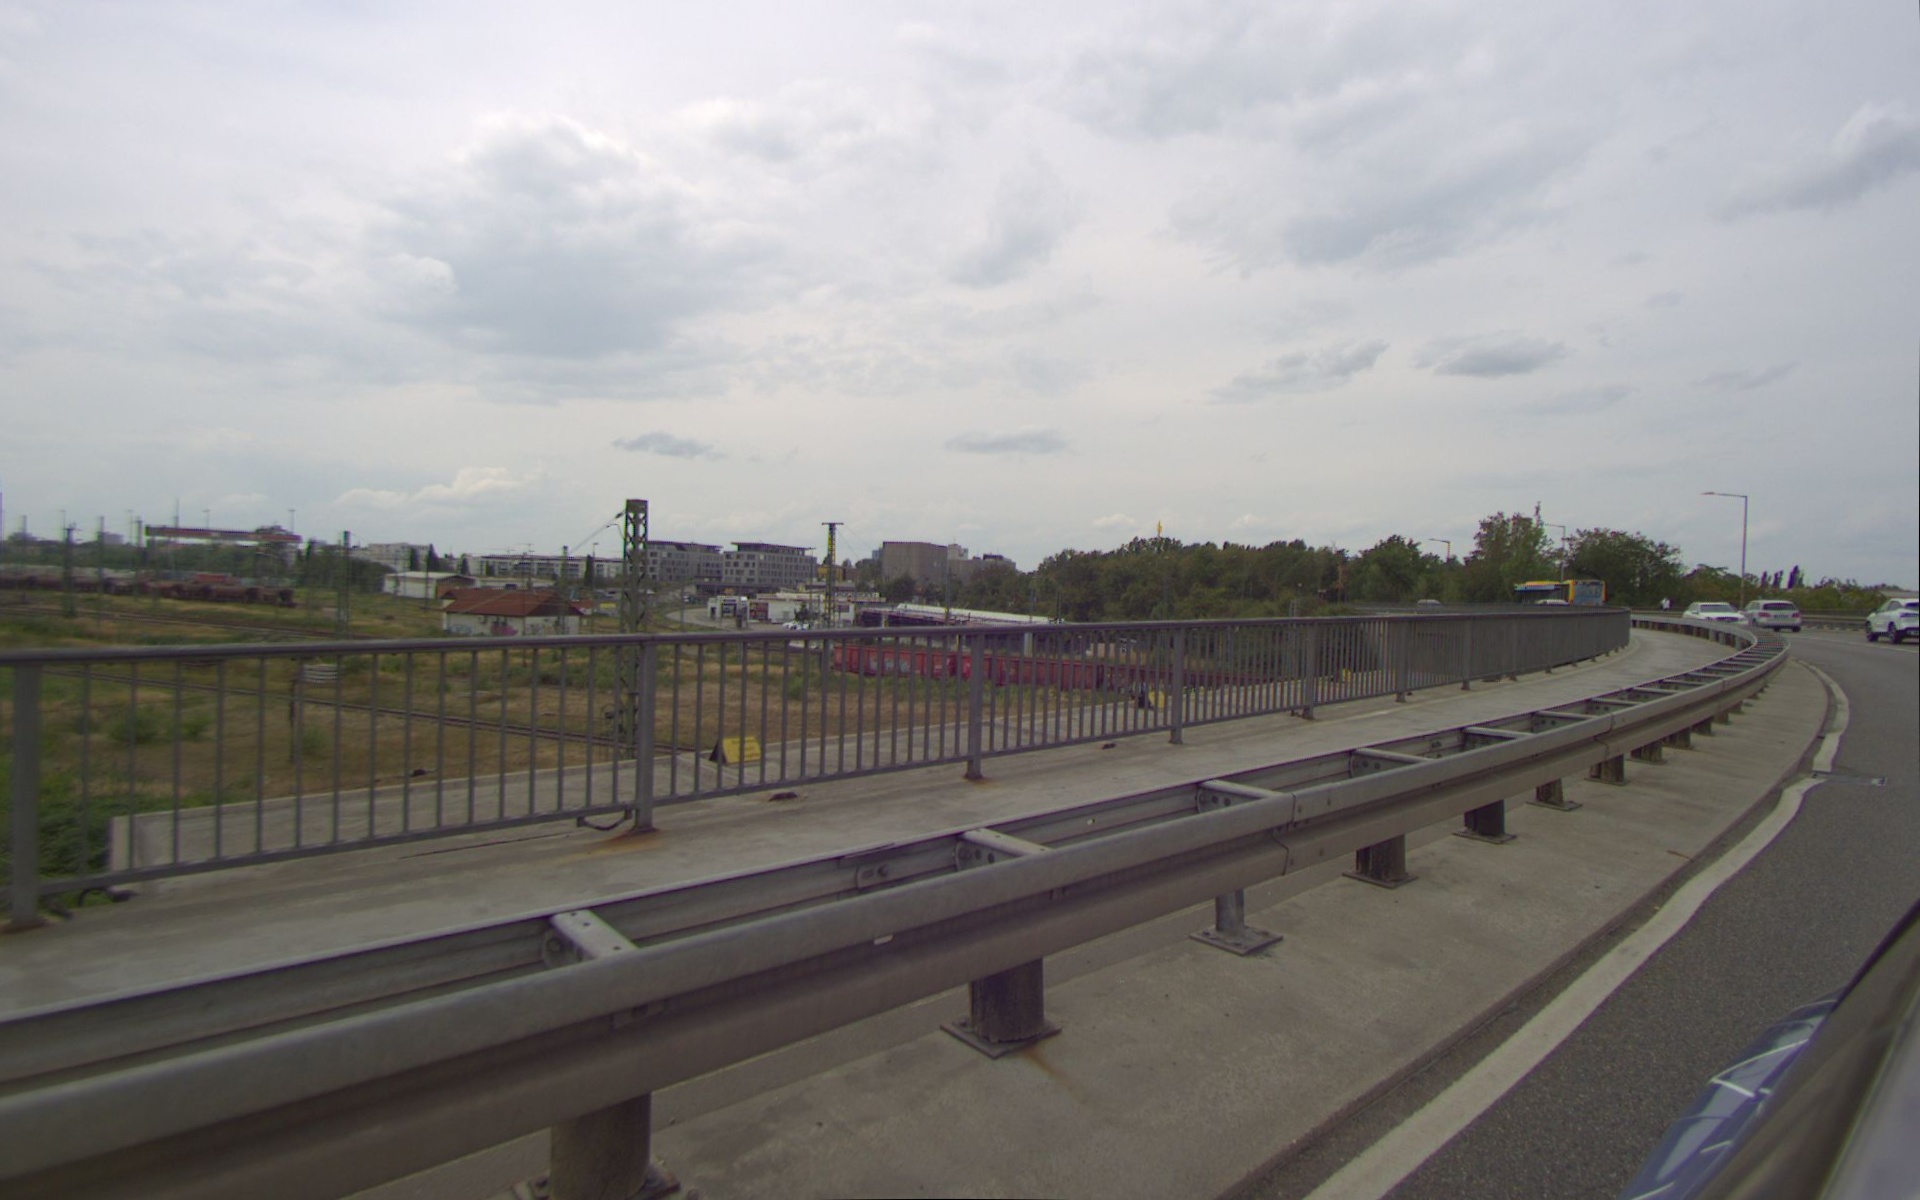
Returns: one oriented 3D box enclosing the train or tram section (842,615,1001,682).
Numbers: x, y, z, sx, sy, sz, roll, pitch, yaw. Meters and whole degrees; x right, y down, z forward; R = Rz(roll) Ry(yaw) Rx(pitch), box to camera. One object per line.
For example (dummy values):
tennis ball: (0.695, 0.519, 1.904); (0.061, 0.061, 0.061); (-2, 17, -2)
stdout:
train or tram section: (-3.732, 4.340, 94.224); (14.878, 5.748, 3.938); (0, 0, 29)

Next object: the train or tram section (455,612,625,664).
train or tram section: (-50.447, 4.335, 120.707); (25.464, 5.549, 3.952); (0, 0, 29)

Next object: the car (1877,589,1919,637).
car: (34.319, 0.427, 35.852); (1.933, 1.613, 4.717); (0, 0, 33)

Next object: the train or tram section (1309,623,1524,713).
train or tram section: (32.200, 4.572, 71.981); (13.557, 5.645, 3.608); (0, 0, 34)

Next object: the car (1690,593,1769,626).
car: (36.141, 0.415, 47.637); (1.915, 1.475, 3.859); (-1, 0, 21)

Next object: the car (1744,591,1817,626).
car: (40.486, 0.372, 50.047); (1.805, 1.640, 4.360); (0, 0, 25)

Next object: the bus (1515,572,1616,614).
bus: (50.093, -0.590, 84.285); (2.994, 3.274, 12.909); (0, 0, 11)

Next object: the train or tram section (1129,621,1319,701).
train or tram section: (20.574, 4.582, 79.676); (14.149, 5.669, 3.617); (0, 0, 33)

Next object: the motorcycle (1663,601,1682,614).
motorcycle: (52.801, 0.565, 75.044); (0.619, 0.975, 1.829); (0, 0, 17)

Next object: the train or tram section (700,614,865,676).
train or tram section: (-18.173, 4.380, 102.250); (18.115, 5.714, 3.919); (0, 0, 30)

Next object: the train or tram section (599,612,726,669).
train or tram section: (-32.660, 4.300, 110.562); (15.430, 5.695, 3.764); (0, 0, 30)

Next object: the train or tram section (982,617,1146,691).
train or tram section: (8.800, 4.455, 87.121); (13.794, 5.749, 3.802); (0, 0, 31)

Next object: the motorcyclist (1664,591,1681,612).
motorcyclist: (52.730, 0.099, 74.893); (0.801, 1.549, 0.820); (0, 0, 17)
